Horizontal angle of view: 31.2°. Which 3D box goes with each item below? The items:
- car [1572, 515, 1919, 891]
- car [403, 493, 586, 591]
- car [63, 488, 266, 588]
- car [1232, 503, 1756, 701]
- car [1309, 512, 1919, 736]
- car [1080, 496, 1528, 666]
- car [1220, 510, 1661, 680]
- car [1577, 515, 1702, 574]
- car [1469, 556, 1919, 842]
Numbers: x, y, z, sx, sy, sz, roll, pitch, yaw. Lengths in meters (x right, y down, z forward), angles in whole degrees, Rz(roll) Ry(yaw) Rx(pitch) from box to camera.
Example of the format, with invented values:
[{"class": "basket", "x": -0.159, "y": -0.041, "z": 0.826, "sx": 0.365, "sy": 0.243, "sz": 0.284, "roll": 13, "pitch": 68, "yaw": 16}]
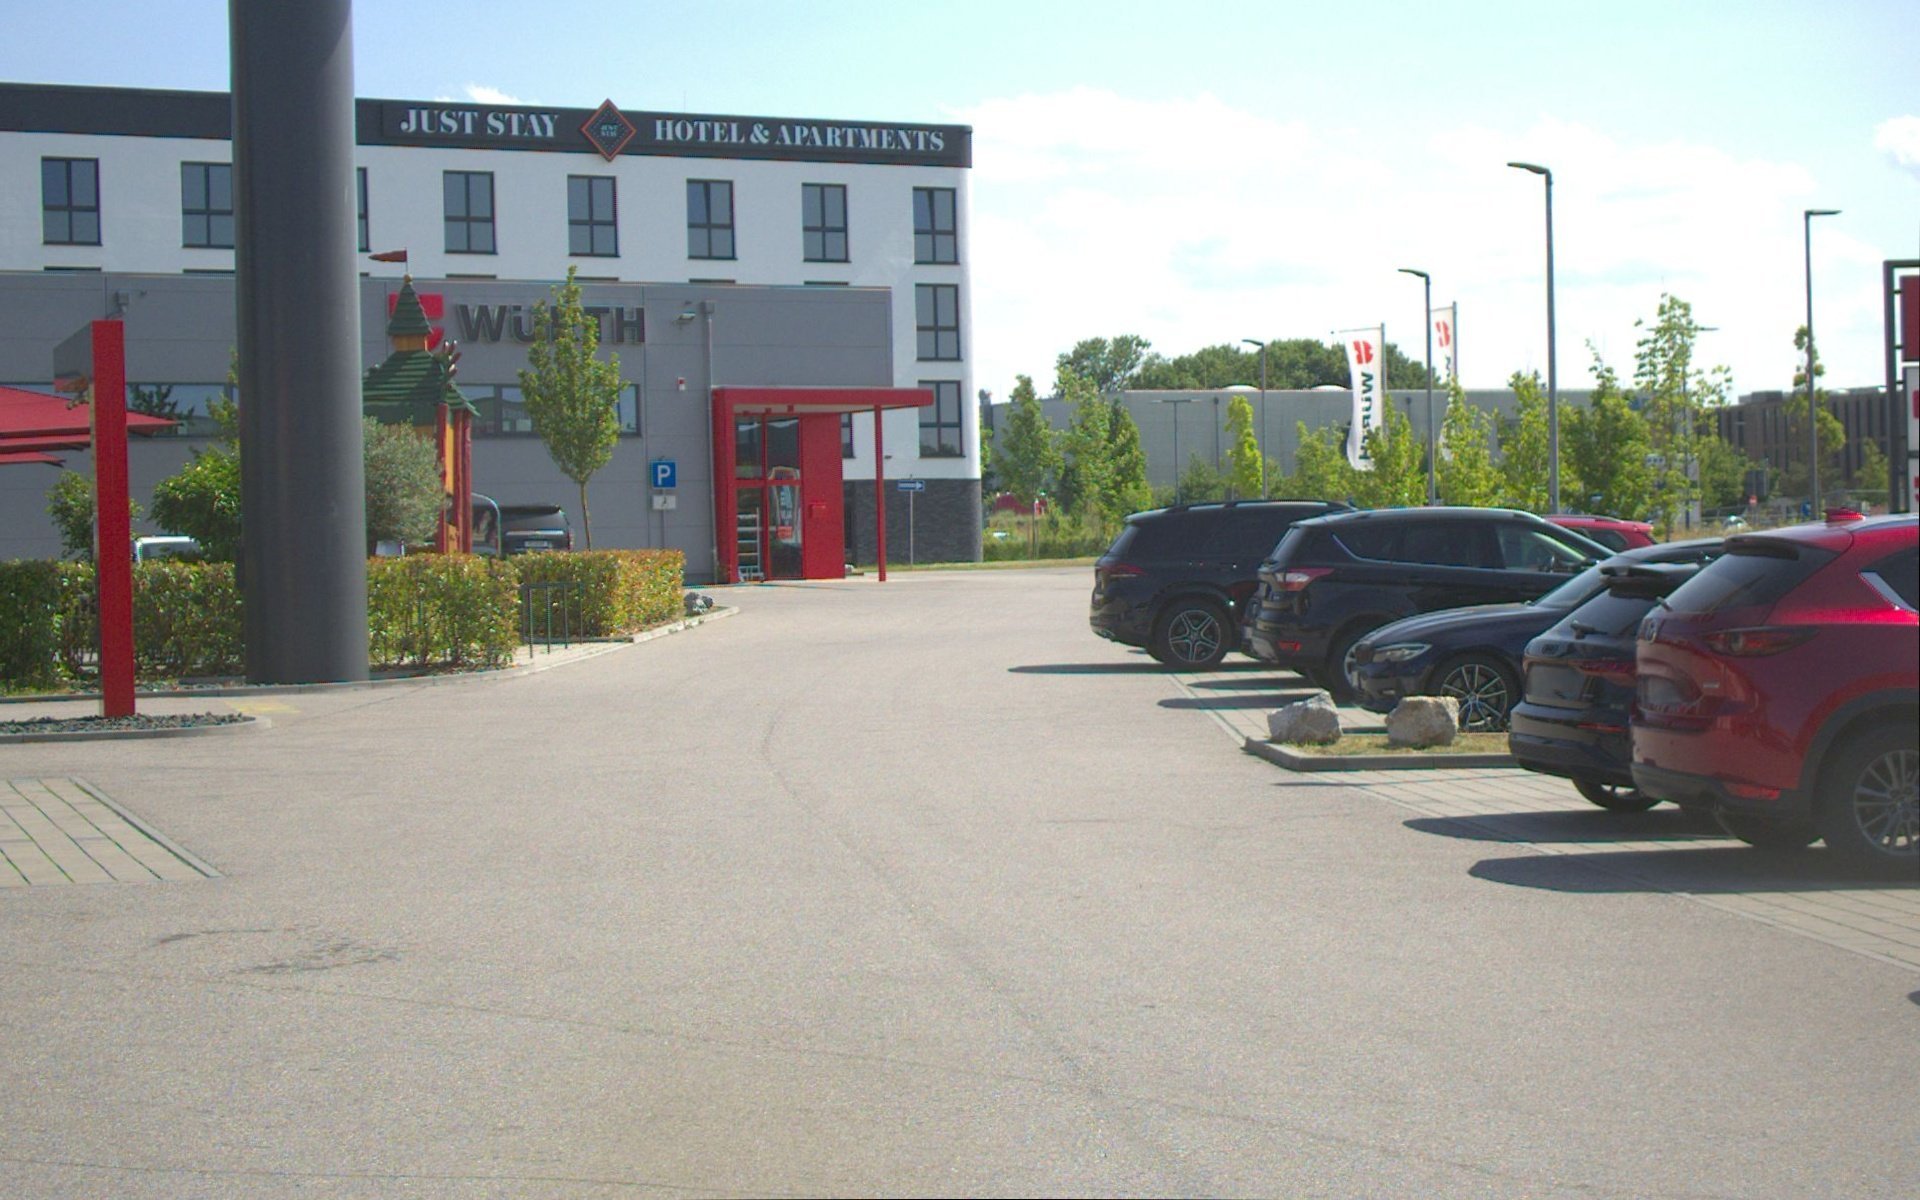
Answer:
[{"class": "car", "x": 5.227, "y": 0.411, "z": 16.218, "sx": 4.216, "sy": 1.632, "sz": 1.951, "roll": -1, "pitch": 1, "yaw": -7}, {"class": "car", "x": -9.520, "y": -1.211, "z": 69.994, "sx": 2.071, "sy": 1.874, "sz": 4.880, "roll": -2, "pitch": 2, "yaw": -28}, {"class": "car", "x": -13.031, "y": -1.027, "z": 56.123, "sx": 1.947, "sy": 1.525, "sz": 4.377, "roll": -2, "pitch": 2, "yaw": -31}, {"class": "car", "x": 4.772, "y": -0.015, "z": 31.067, "sx": 4.317, "sy": 1.697, "sz": 1.896, "roll": -1, "pitch": 1, "yaw": -7}, {"class": "car", "x": 4.995, "y": 0.155, "z": 26.331, "sx": 4.436, "sy": 1.632, "sz": 1.896, "roll": 0, "pitch": 1, "yaw": 0}, {"class": "car", "x": 3.655, "y": -0.225, "z": 37.064, "sx": 4.574, "sy": 1.754, "sz": 1.896, "roll": 0, "pitch": 1, "yaw": -2}, {"class": "car", "x": 4.725, "y": -0.075, "z": 34.210, "sx": 4.068, "sy": 1.603, "sz": 1.896, "roll": 0, "pitch": 2, "yaw": -2}, {"class": "car", "x": 21.332, "y": -1.769, "z": 108.136, "sx": 1.993, "sy": 1.727, "sz": 4.761, "roll": -2, "pitch": 2, "yaw": -14}, {"class": "car", "x": 5.040, "y": 0.479, "z": 18.549, "sx": 4.191, "sy": 1.405, "sz": 1.774, "roll": -1, "pitch": 1, "yaw": -9}]
